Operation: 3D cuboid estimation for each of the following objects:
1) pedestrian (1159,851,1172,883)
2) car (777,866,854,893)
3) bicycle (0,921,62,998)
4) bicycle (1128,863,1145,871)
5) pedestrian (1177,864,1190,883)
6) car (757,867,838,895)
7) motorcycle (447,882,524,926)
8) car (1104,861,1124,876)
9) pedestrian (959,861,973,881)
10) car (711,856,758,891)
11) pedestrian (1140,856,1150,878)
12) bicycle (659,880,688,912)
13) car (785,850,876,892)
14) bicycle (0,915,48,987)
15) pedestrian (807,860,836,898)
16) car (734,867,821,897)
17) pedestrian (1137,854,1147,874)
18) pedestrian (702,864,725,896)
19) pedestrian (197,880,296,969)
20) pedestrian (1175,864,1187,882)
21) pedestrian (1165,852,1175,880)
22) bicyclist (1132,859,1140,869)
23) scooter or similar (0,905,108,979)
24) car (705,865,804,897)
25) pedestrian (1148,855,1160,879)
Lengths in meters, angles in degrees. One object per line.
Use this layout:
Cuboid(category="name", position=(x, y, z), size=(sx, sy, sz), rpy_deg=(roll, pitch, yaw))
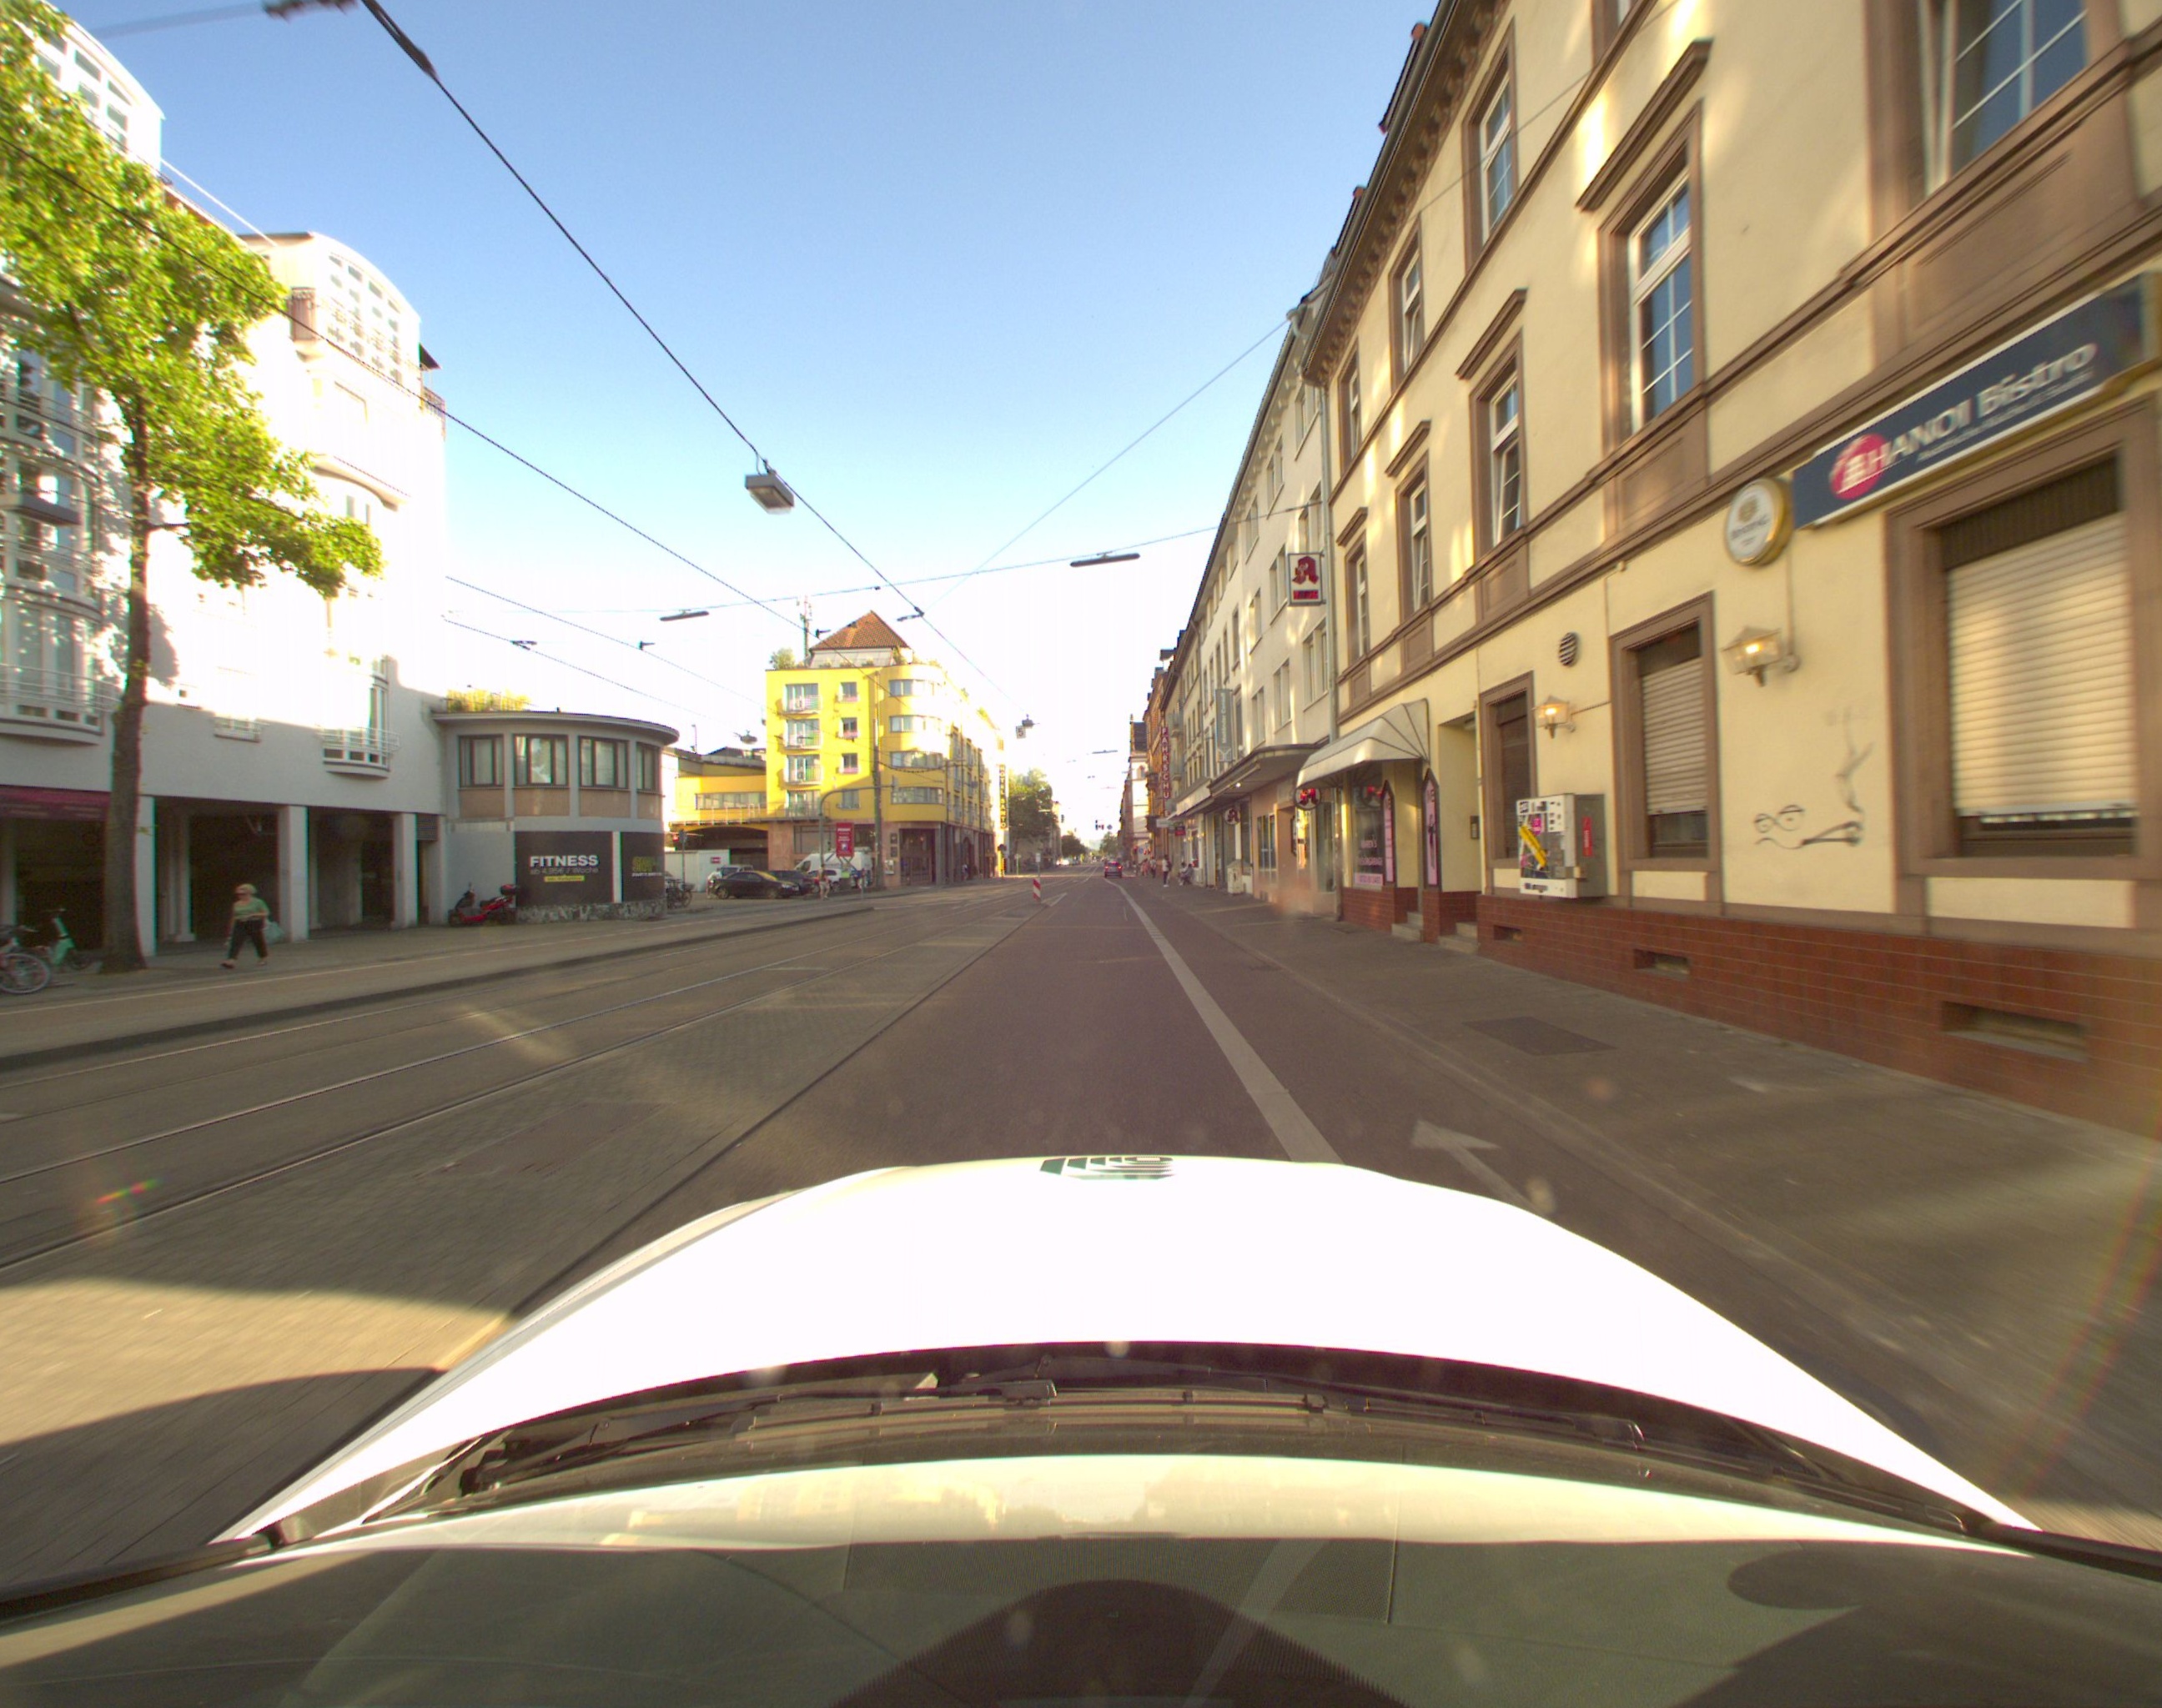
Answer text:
Cuboid(category="pedestrian", position=(4.825, 0.758, 46.470), size=(0.645, 1.796, 0.562), rpy_deg=(-2, -1, 5))
Cuboid(category="car", position=(-16.046, 1.538, 49.320), size=(3.971, 1.510, 1.801), rpy_deg=(-1, -1, 2))
Cuboid(category="bicycle", position=(-16.679, 1.636, 12.192), size=(0.496, 1.107, 1.801), rpy_deg=(1, 0, 2))
Cuboid(category="bicycle", position=(7.005, 1.659, 103.021), size=(1.918, 1.003, 0.758), rpy_deg=(-2, 0, 19))
Cuboid(category="pedestrian", position=(5.793, 1.090, 46.146), size=(0.687, 1.043, 0.681), rpy_deg=(-2, -1, 6))
Cuboid(category="car", position=(-16.259, 1.520, 46.791), size=(3.971, 1.510, 1.801), rpy_deg=(-1, -1, 2))
Cuboid(category="motorcycle", position=(-18.210, 1.523, 24.931), size=(1.791, 1.298, 0.605), rpy_deg=(1, -1, -5))
Cuboid(category="car", position=(3.306, 1.448, 81.803), size=(1.986, 1.449, 4.001), rpy_deg=(-1, 0, 1))
Cuboid(category="pedestrian", position=(-10.559, 1.538, 74.876), size=(0.902, 1.815, 1.156), rpy_deg=(-1, -1, 13))
Cuboid(category="car", position=(-23.310, 1.280, 54.892), size=(1.792, 2.208, 3.990), rpy_deg=(-1, 0, -7))
Cuboid(category="pedestrian", position=(5.658, 1.170, 72.148), size=(0.840, 1.918, 0.661), rpy_deg=(-2, -1, 0))
Cuboid(category="bicycle", position=(-15.547, 1.589, 31.105), size=(0.499, 1.107, 1.793), rpy_deg=(-1, -1, -10))
Cuboid(category="car", position=(-15.906, 1.058, 51.903), size=(5.085, 2.576, 2.129), rpy_deg=(-1, -1, 2))
Cuboid(category="bicycle", position=(-18.009, 1.593, 13.019), size=(0.494, 1.107, 1.811), rpy_deg=(1, 0, 42))
Cuboid(category="pedestrian", position=(-12.850, 1.236, 40.347), size=(0.902, 1.815, 1.156), rpy_deg=(-1, -1, 14))
Cuboid(category="car", position=(-16.445, 1.499, 44.213), size=(3.971, 1.510, 1.801), rpy_deg=(-1, -1, 2))
Cuboid(category="pedestrian", position=(6.073, 1.003, 80.848), size=(0.840, 1.918, 0.847), rpy_deg=(-2, -1, 0))
Cuboid(category="pedestrian", position=(-18.945, 1.327, 42.020), size=(0.895, 1.652, 0.754), rpy_deg=(0, -1, -41))
Cuboid(category="pedestrian", position=(-16.438, 1.365, 16.084), size=(1.017, 1.661, 0.915), rpy_deg=(1, -1, -19))
Cuboid(category="pedestrian", position=(5.783, 1.107, 47.137), size=(0.687, 1.043, 0.681), rpy_deg=(-2, -1, 6))
Cuboid(category="pedestrian", position=(5.702, 0.771, 52.180), size=(0.556, 1.796, 0.652), rpy_deg=(-2, -1, 8))
Cuboid(category="bicyclist", position=(6.975, 1.310, 103.028), size=(0.704, 1.221, 0.758), rpy_deg=(-2, 0, 19))
Cuboid(category="scooter or similar", position=(-18.527, 1.548, 14.644), size=(0.496, 1.193, 1.273), rpy_deg=(-2, -1, 3))
Cuboid(category="car", position=(-16.586, 1.348, 41.513), size=(4.303, 1.510, 1.801), rpy_deg=(-1, -1, 2))
Cuboid(category="pedestrian", position=(6.050, 1.093, 67.681), size=(0.846, 1.918, 1.034), rpy_deg=(-2, -1, 0))
